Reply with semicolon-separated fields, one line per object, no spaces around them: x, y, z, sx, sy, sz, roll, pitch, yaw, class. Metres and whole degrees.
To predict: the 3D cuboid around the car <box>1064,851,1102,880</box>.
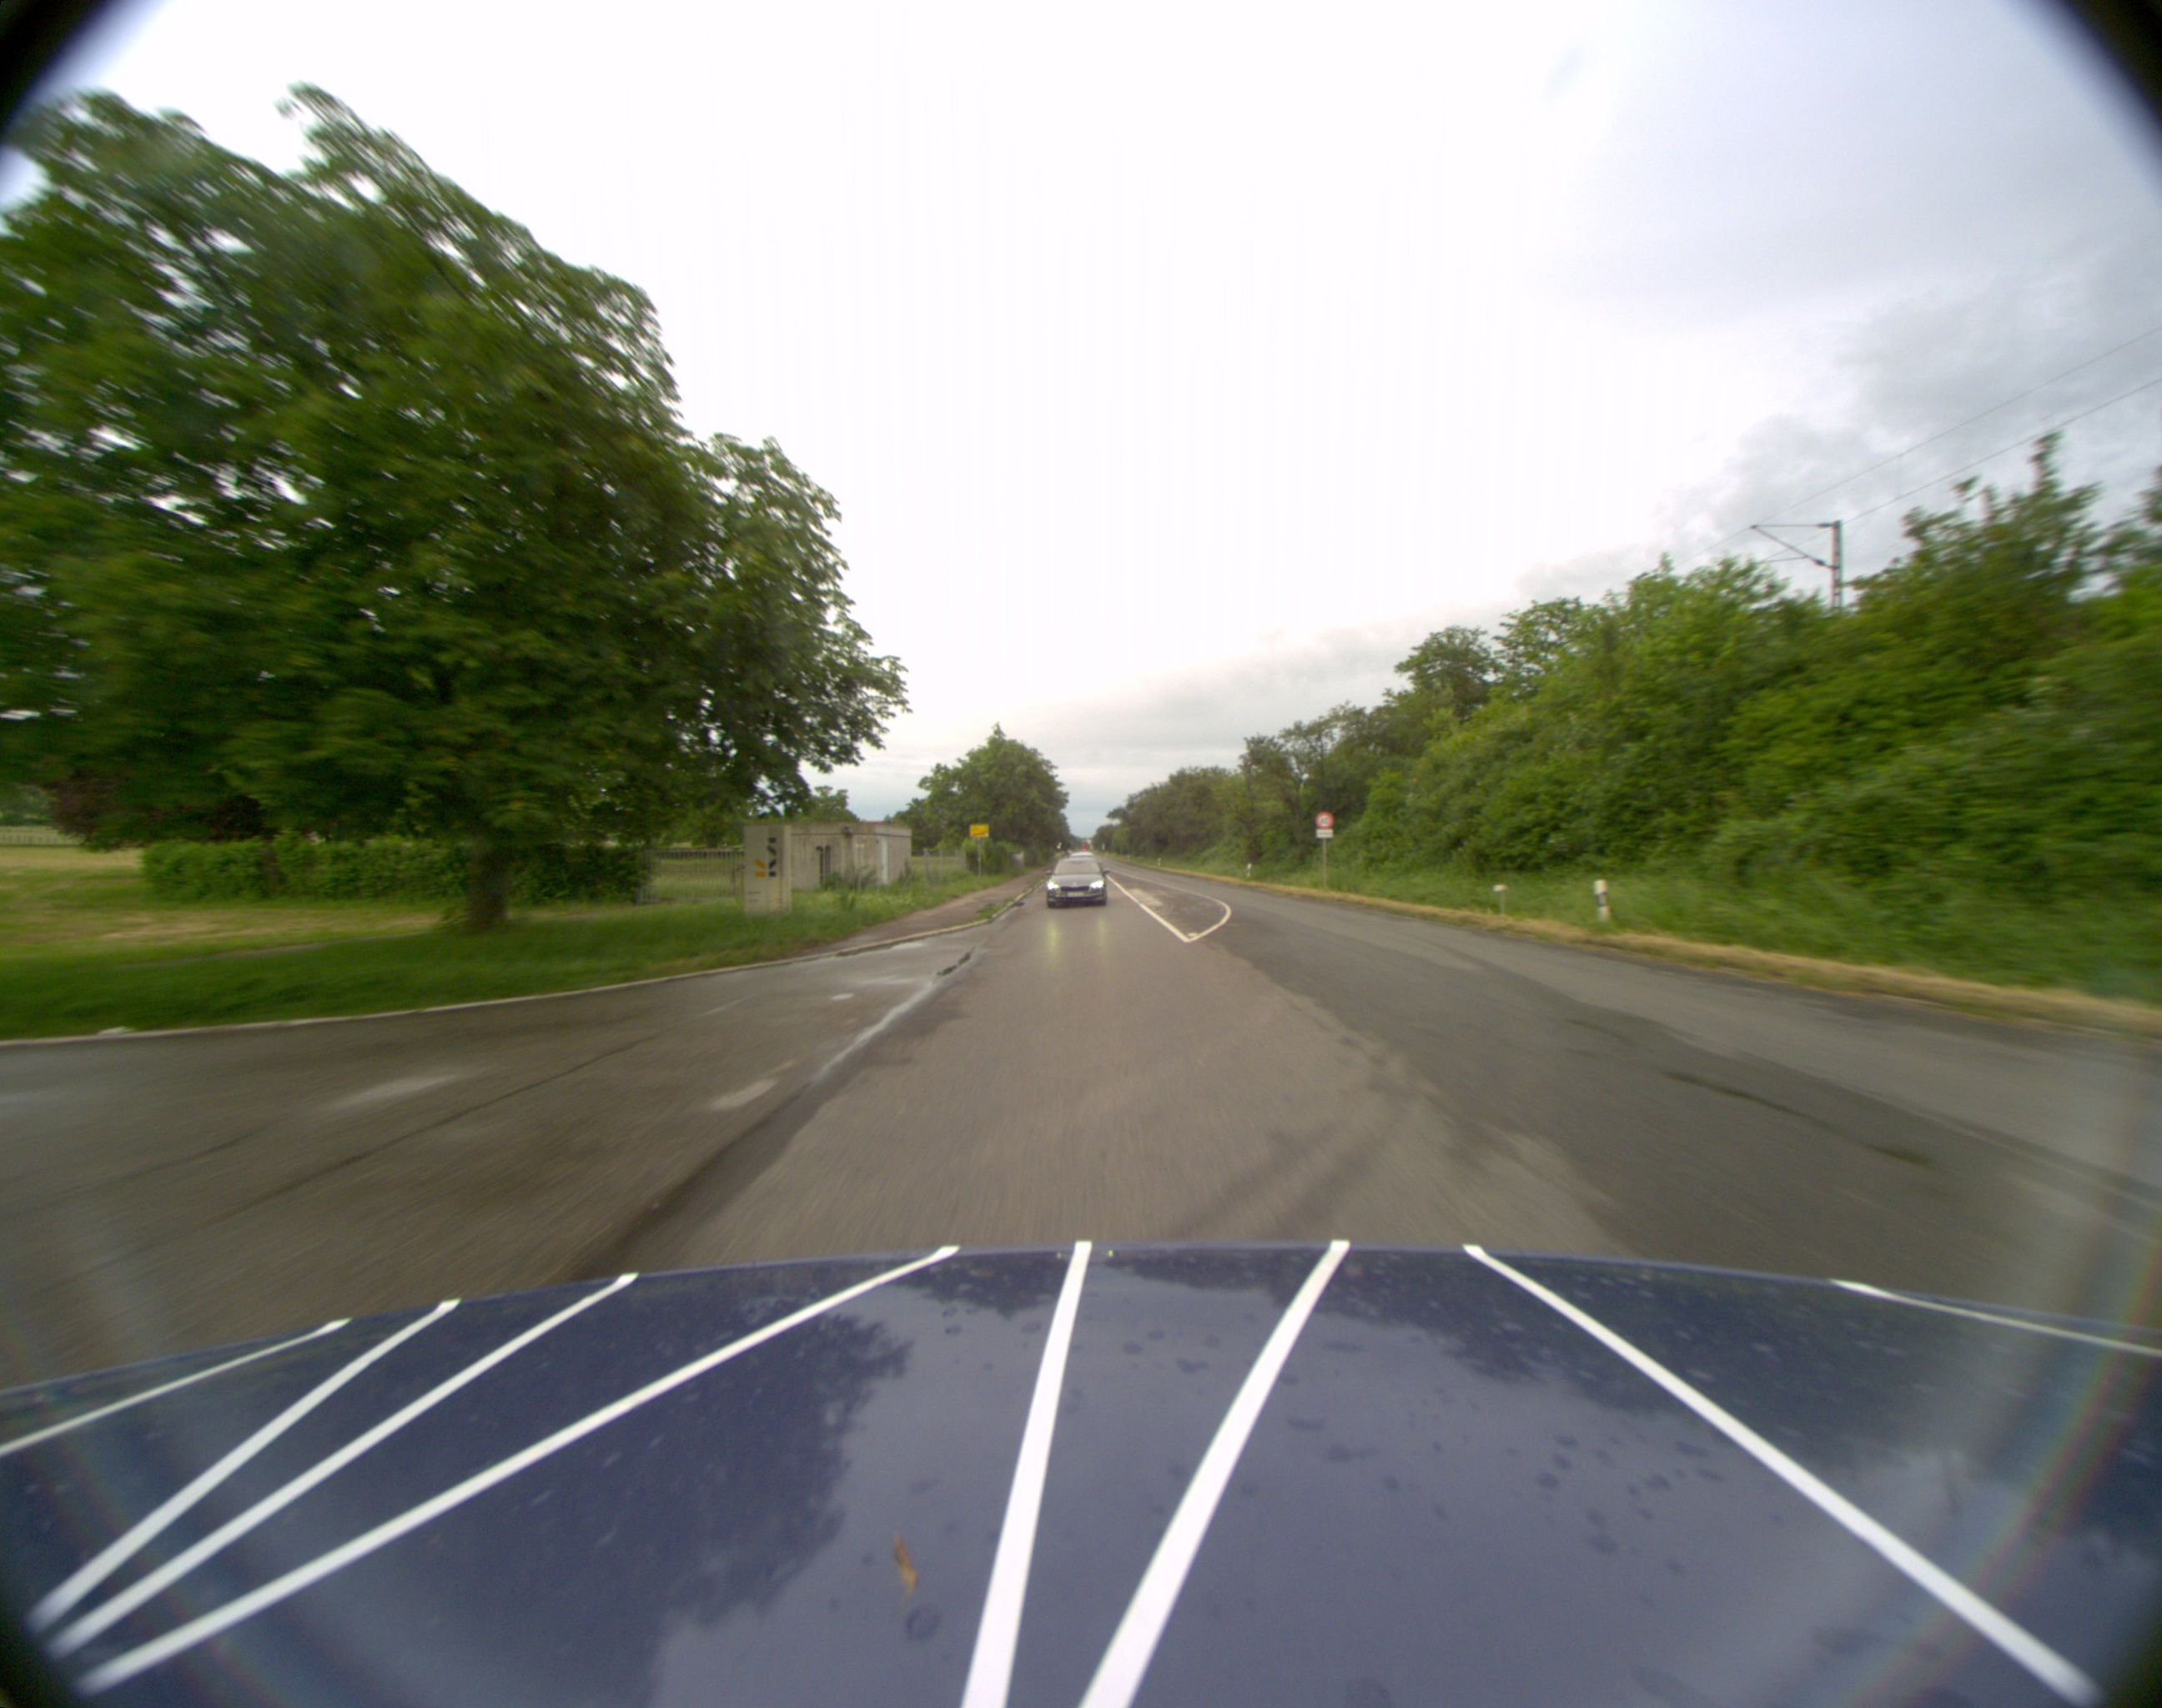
0.144;0.627;42.252;1.998;1.537;4.000;0;0;2;car

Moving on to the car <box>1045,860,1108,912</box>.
-0.104;0.936;24.062;1.797;1.443;4.259;0;0;1;car
